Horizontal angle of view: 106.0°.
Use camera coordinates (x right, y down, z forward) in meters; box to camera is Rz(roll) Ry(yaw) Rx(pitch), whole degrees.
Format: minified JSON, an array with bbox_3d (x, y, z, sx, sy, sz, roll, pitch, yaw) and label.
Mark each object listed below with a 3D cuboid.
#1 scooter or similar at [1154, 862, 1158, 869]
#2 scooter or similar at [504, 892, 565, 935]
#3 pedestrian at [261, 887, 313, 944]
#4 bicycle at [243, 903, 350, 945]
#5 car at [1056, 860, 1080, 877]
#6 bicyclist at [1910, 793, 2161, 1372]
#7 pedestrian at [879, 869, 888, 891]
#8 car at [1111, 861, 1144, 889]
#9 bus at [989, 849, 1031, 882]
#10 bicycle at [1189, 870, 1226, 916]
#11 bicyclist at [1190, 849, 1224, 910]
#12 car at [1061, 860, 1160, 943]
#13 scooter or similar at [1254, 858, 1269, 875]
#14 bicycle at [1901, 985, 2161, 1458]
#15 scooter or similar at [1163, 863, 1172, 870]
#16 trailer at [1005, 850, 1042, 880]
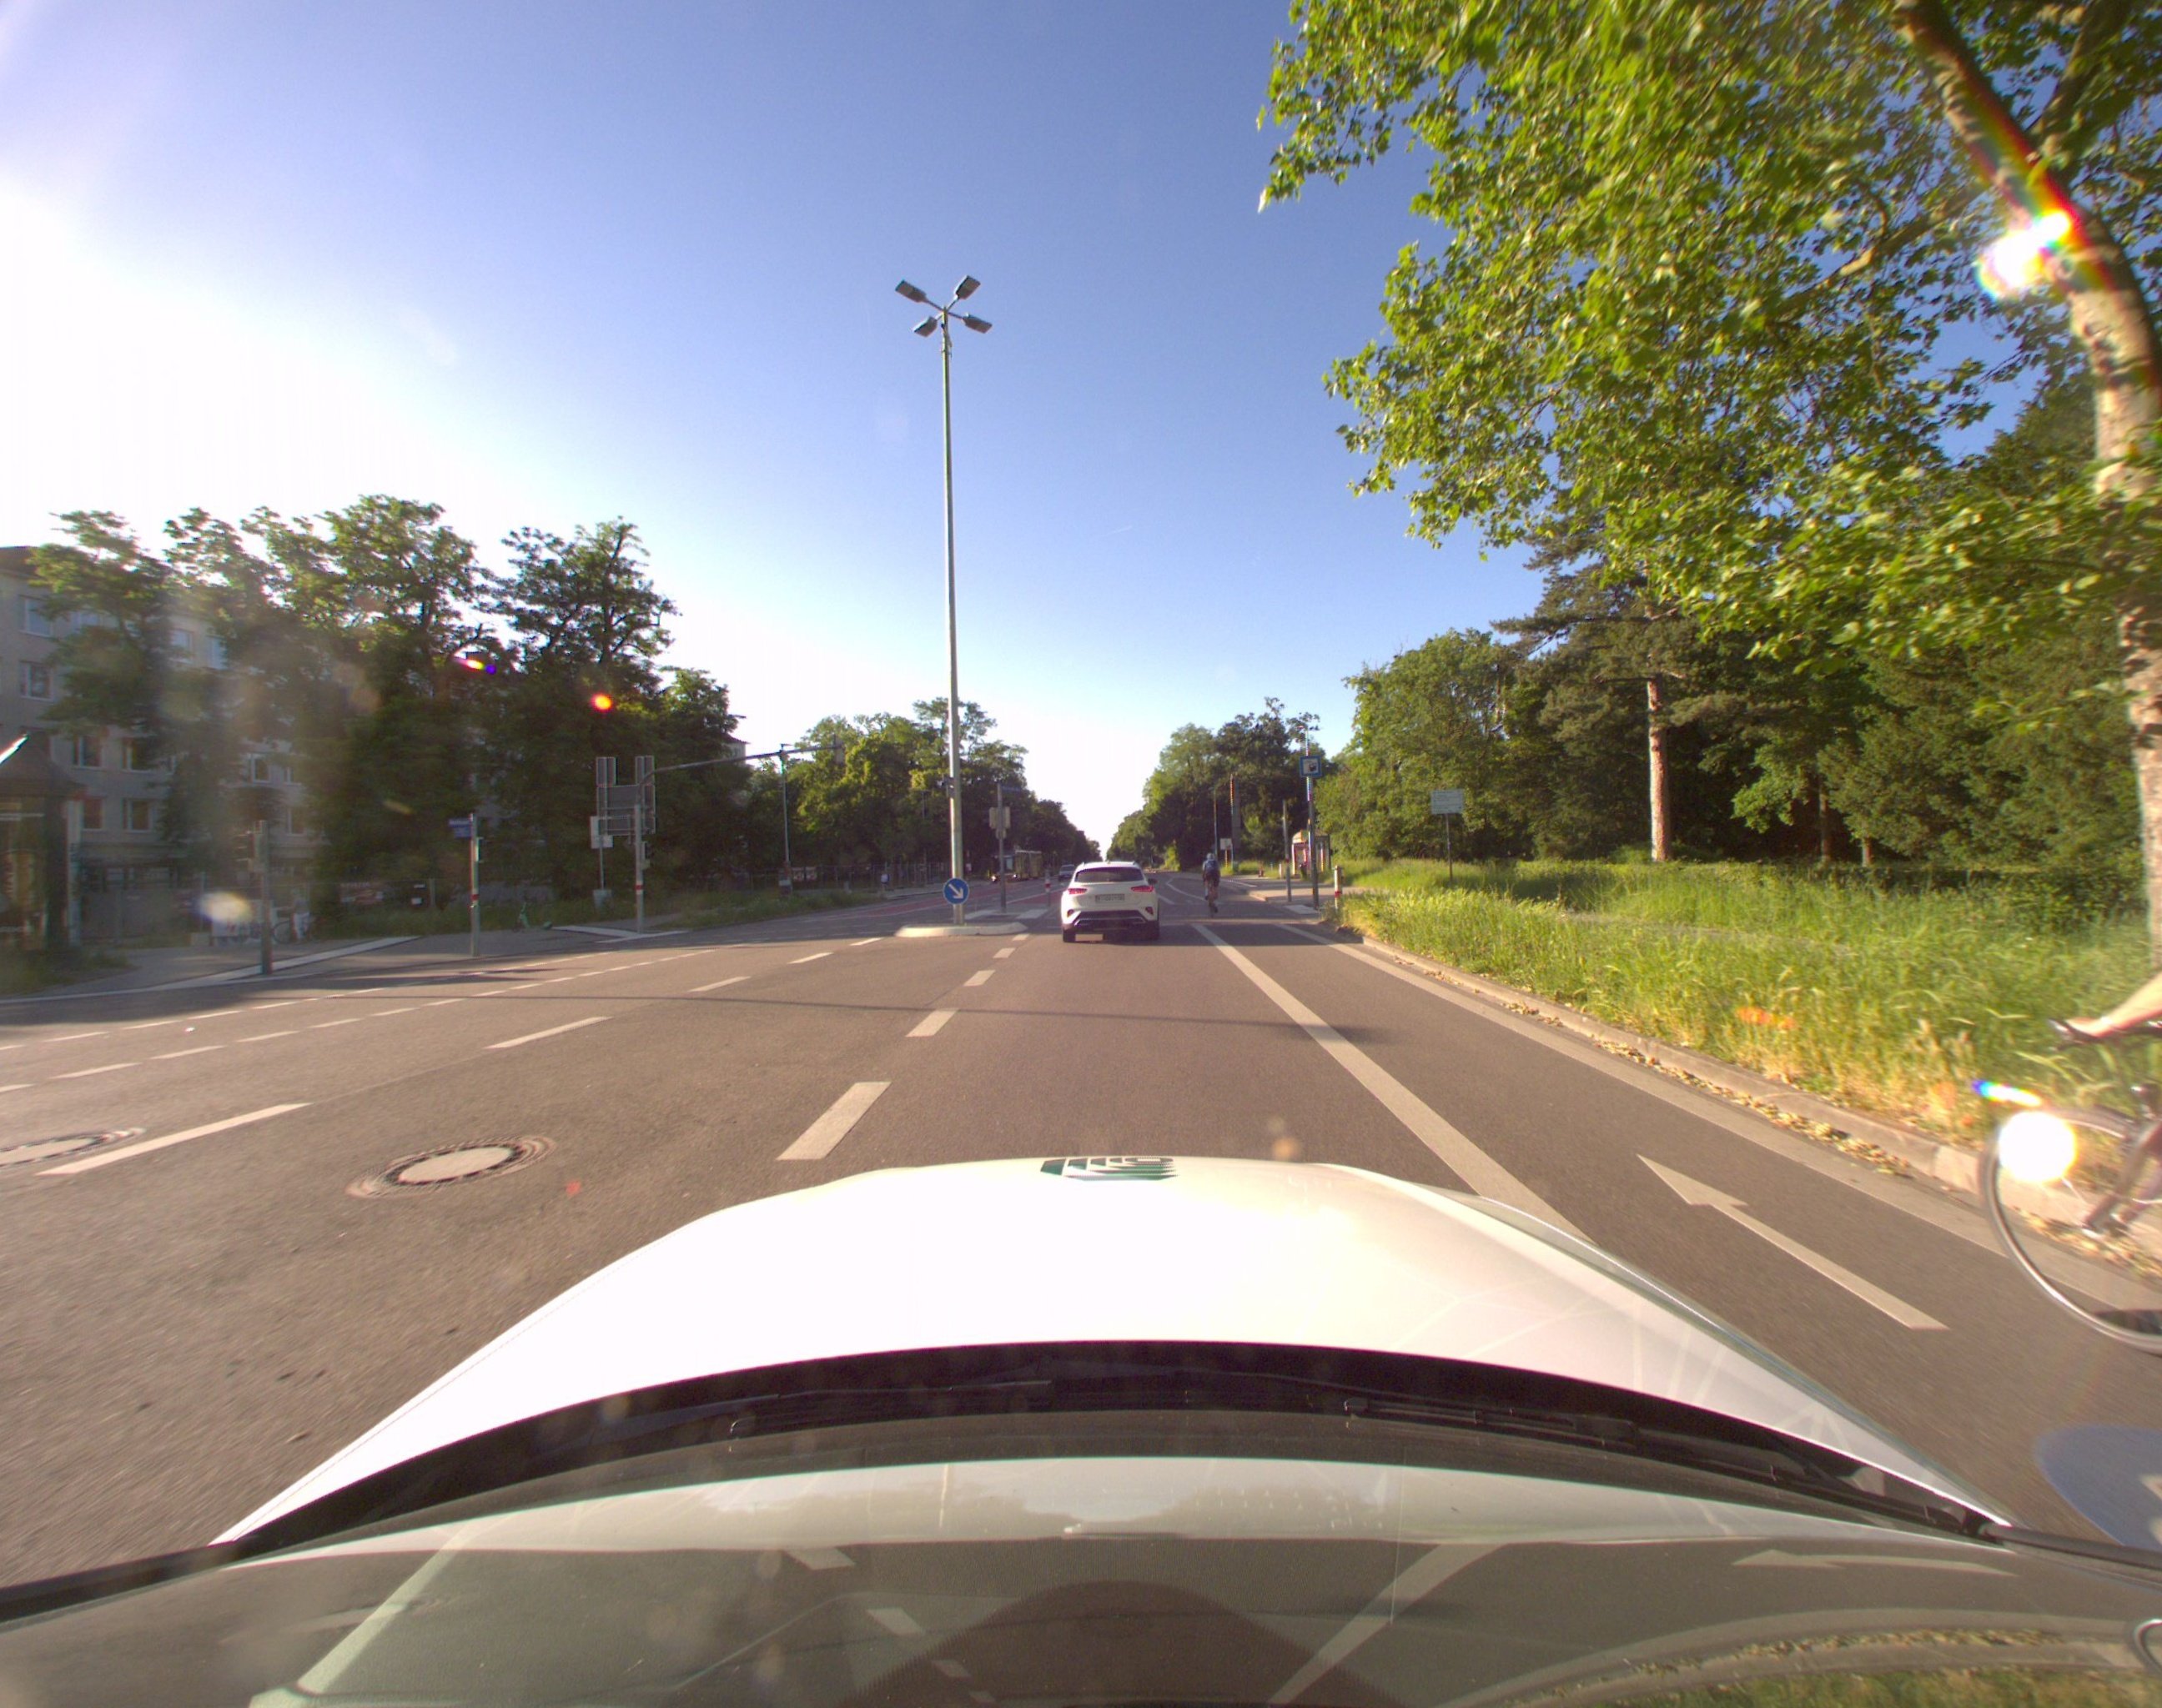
[{"bbox_3d":[17.238,2.659,187.081,0.679,1.423,1.682,-2,-1,2],"label":"scooter or similar"},{"bbox_3d":[-18.298,1.977,27.277,0.686,1.294,1.505,-3,-1,32],"label":"scooter or similar"},{"bbox_3d":[-24.389,1.885,25.027,0.972,1.696,0.644,-2,-1,7],"label":"pedestrian"},{"bbox_3d":[-24.534,2.177,25.498,2.557,1.136,0.982,-2,-1,7],"label":"bicycle"},{"bbox_3d":[-1.132,1.315,74.115,1.703,1.421,4.559,-2,-1,4],"label":"car"},{"bbox_3d":[3.171,0.577,2.366,0.688,1.490,0.803,-3,-1,13],"label":"bicyclist"},{"bbox_3d":[-14.004,1.847,57.652,0.449,1.534,0.571,-2,-1,-2],"label":"pedestrian"},{"bbox_3d":[2.658,1.165,45.908,1.668,1.417,3.579,-3,-1,6],"label":"car"},{"bbox_3d":[-7.302,1.175,84.804,2.827,3.197,8.608,-2,-1,4],"label":"bus"},{"bbox_3d":[3.302,0.993,21.378,0.886,1.095,2.140,-1,-1,8],"label":"bicycle"},{"bbox_3d":[3.278,0.662,21.277,0.855,1.567,0.883,-1,-1,7],"label":"bicyclist"},{"bbox_3d":[0.485,0.868,16.355,1.756,1.459,3.815,0,-1,-2],"label":"car"},{"bbox_3d":[13.224,0.903,59.601,0.715,1.247,1.336,-4,-2,25],"label":"scooter or similar"},{"bbox_3d":[3.063,1.007,1.805,0.688,1.095,2.144,-3,-1,13],"label":"bicycle"},{"bbox_3d":[15.215,2.157,143.484,1.549,1.250,0.528,-1,-1,-41],"label":"scooter or similar"},{"bbox_3d":[-6.560,1.267,93.782,2.841,3.356,9.373,0,-1,5],"label":"trailer"}]
